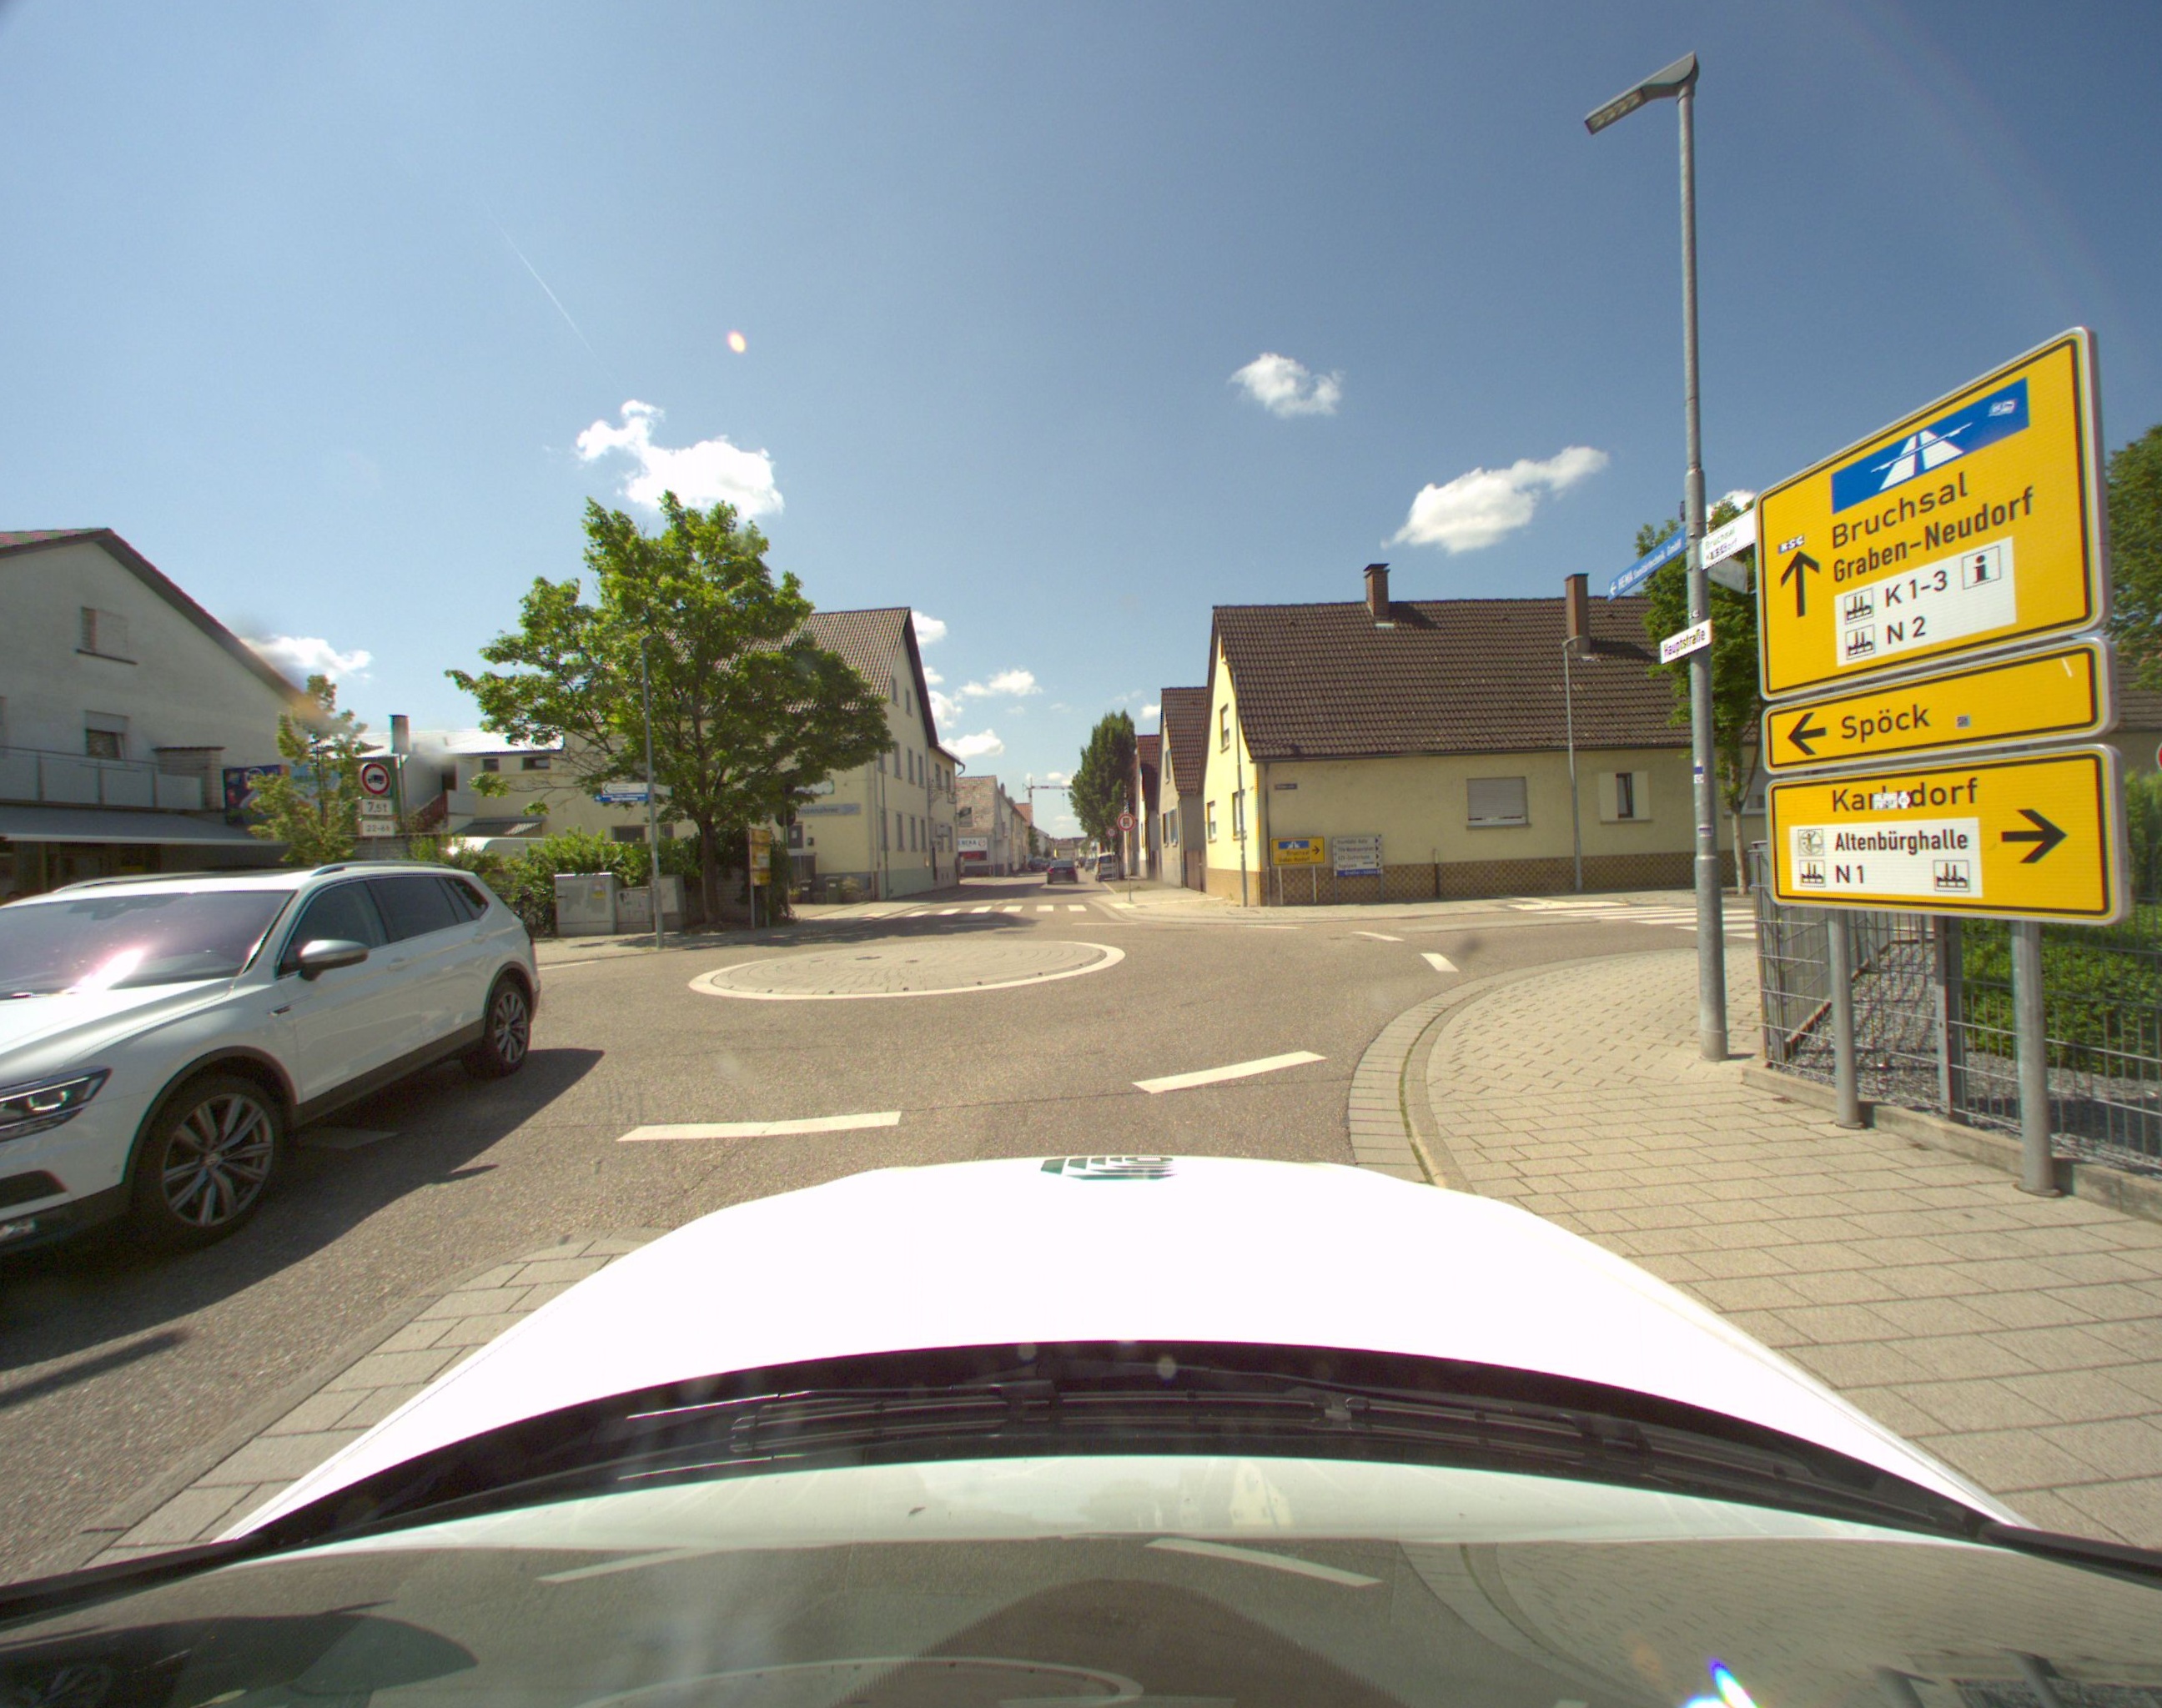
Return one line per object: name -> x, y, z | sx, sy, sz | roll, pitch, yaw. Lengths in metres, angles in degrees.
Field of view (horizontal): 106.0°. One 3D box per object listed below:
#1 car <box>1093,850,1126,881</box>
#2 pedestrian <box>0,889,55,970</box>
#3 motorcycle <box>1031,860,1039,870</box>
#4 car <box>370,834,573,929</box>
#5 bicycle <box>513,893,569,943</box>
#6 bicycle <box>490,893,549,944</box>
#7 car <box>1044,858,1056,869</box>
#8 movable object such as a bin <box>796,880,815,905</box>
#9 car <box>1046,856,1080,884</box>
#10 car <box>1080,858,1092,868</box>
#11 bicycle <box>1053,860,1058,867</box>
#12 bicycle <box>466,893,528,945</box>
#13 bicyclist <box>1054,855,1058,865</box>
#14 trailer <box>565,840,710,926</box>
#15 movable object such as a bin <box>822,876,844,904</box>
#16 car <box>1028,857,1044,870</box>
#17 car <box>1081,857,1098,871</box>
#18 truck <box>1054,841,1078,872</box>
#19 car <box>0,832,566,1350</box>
car -> 1.806, 0.729, 52.506 | 1.715, 1.790, 4.140 | -4, 0, -2
pedestrian -> -22.000, 1.546, 16.914 | 0.869, 1.589, 0.755 | -1, 1, 42
motorcycle -> -5.633, 1.387, 99.576 | 0.844, 1.170, 2.467 | 0, -1, -2
car -> -18.331, 0.748, 24.961 | 1.930, 2.567, 5.646 | -1, 0, 0
bicycle -> -12.902, 1.500, 19.499 | 0.400, 1.003, 1.974 | -2, 2, -13
bicycle -> -13.347, 1.502, 19.403 | 0.400, 1.003, 1.974 | -2, 2, -13
car -> -4.915, 1.505, 128.554 | 1.804, 1.589, 3.997 | -2, 0, -1
movable object such as a bin -> -10.803, 1.519, 31.944 | 0.477, 0.928, 0.547 | -2, 0, 1
car -> -1.051, 0.954, 49.930 | 1.896, 1.563, 4.476 | -2, 0, 0
car -> 0.722, 1.337, 117.573 | 1.714, 1.355, 4.155 | -2, 0, -1
bicycle -> -4.990, 1.860, 160.167 | 0.748, 1.308, 2.684 | -1, -1, 0
bicycle -> -13.781, 1.505, 19.277 | 0.400, 1.003, 1.974 | -2, 2, -13
bicyclist -> -4.990, 1.174, 160.030 | 0.737, 2.059, 0.844 | -1, -1, 0
trailer -> -13.126, 0.797, 24.471 | 1.873, 2.335, 4.522 | -1, 0, 0
movable object such as a bin -> -9.770, 1.414, 32.094 | 0.597, 1.078, 0.658 | -2, 0, 1
car -> -5.692, 1.221, 103.397 | 1.804, 1.589, 3.997 | -2, 0, -1
car -> 0.958, 1.073, 89.229 | 1.713, 1.461, 4.157 | -2, 0, 1
truck -> -2.124, 0.401, 118.119 | 3.134, 4.250, 9.301 | -1, -1, 1
car -> -4.933, 0.872, 4.686 | 1.869, 1.709, 4.520 | -4, 0, -14
